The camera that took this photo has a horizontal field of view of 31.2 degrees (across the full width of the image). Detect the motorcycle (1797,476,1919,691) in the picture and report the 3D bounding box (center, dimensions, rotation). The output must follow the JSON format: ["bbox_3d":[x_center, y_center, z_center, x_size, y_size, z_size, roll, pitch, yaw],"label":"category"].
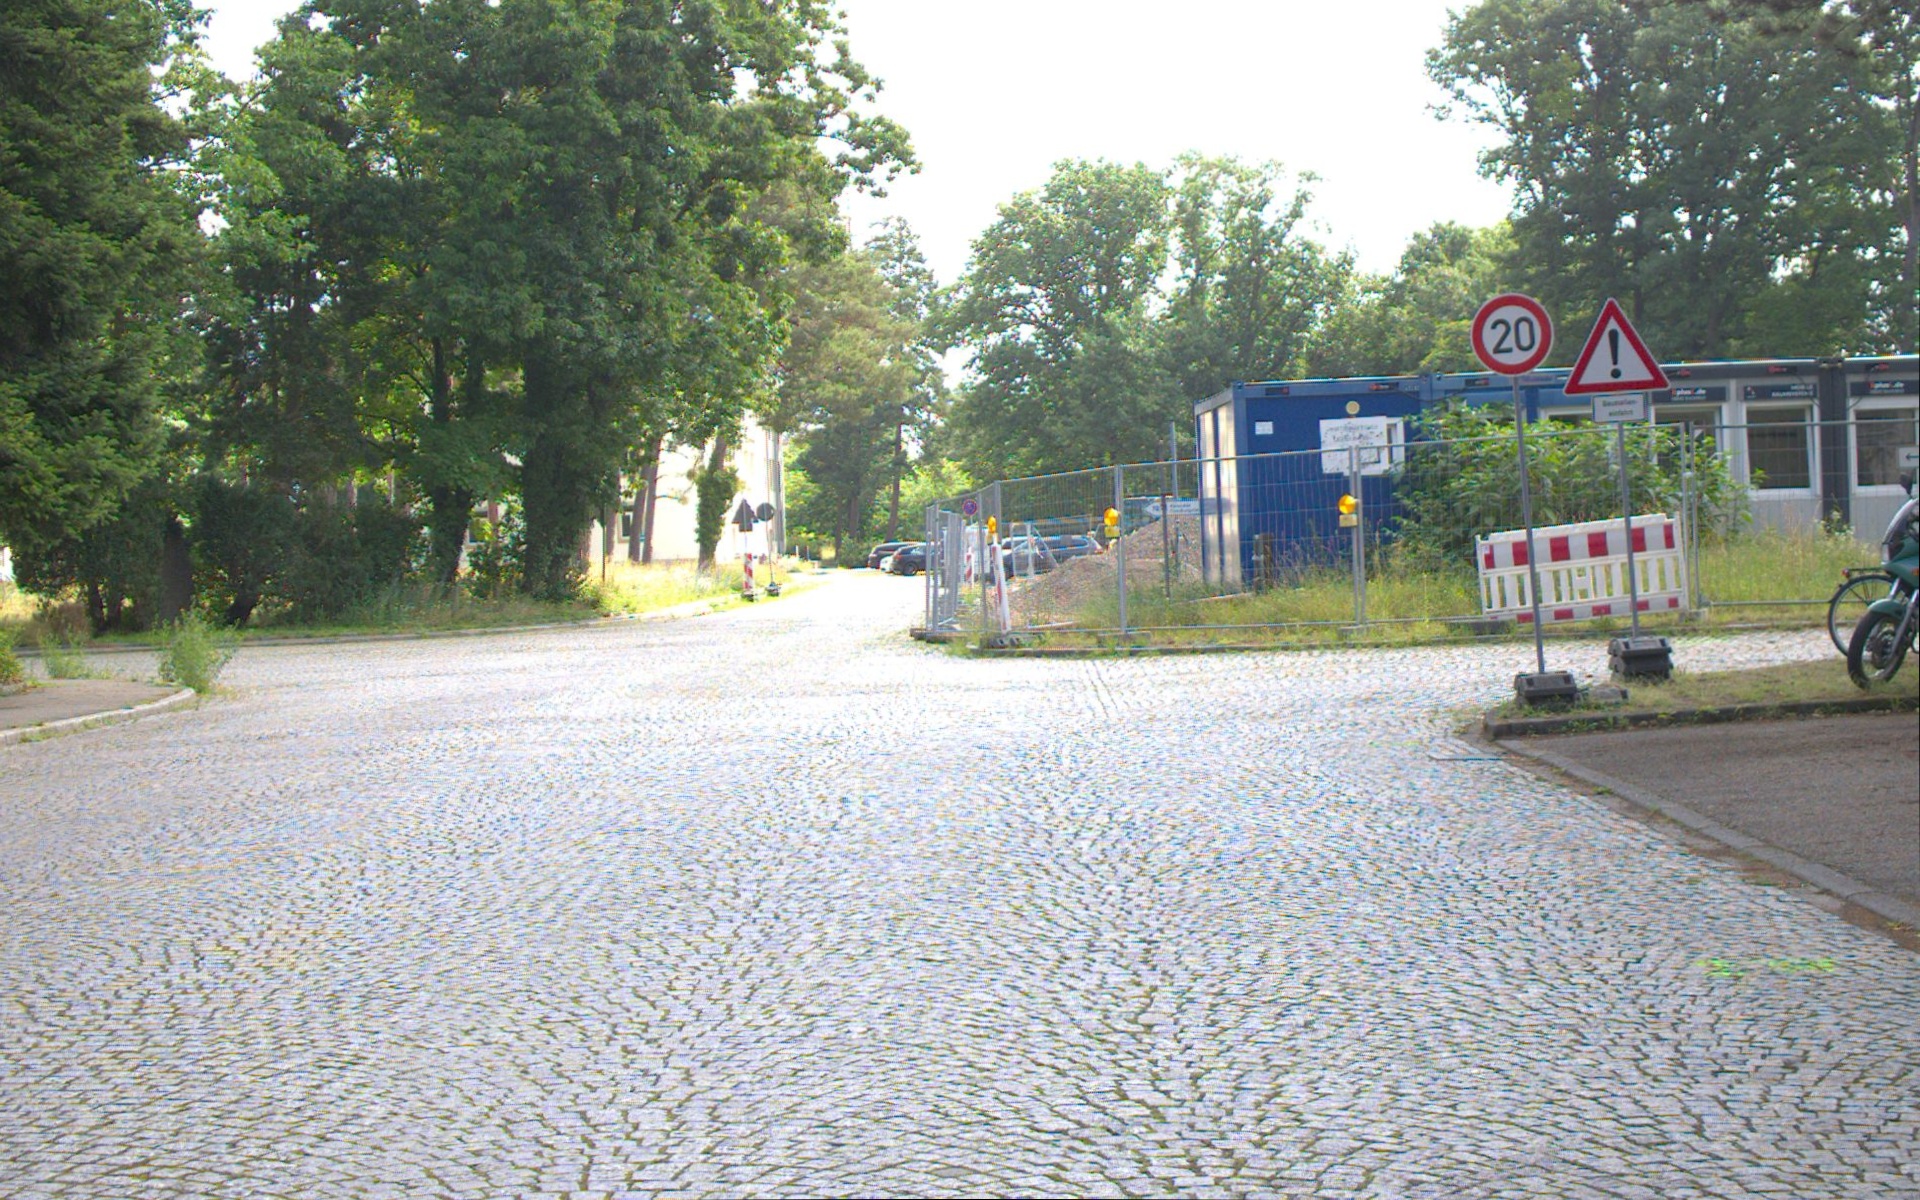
[{"bbox_3d":[7.233,-0.163,24.538,2.276,1.480,0.757,-3,1,-4],"label":"motorcycle"}]

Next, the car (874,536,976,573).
[{"bbox_3d":[-1.720,-2.219,167.404,4.779,1.635,2.000,-2,1,-5],"label":"car"}]

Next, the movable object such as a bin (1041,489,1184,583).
[{"bbox_3d":[4.424,-1.859,98.928,2.132,2.584,4.783,-1,1,29],"label":"movable object such as a bin"}]

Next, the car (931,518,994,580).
[{"bbox_3d":[0.067,-1.717,115.731,1.993,2.007,4.091,-1,1,-1],"label":"car"}]

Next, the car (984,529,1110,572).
[{"bbox_3d":[3.190,-1.808,125.400,4.404,1.505,1.999,-1,1,8],"label":"car"}]

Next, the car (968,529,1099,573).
[{"bbox_3d":[2.614,-1.743,121.686,4.404,1.505,1.999,0,1,8],"label":"car"}]

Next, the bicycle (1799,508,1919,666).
[{"bbox_3d":[7.599,-0.121,26.921,1.900,1.193,0.655,-2,1,20],"label":"bicycle"}]
